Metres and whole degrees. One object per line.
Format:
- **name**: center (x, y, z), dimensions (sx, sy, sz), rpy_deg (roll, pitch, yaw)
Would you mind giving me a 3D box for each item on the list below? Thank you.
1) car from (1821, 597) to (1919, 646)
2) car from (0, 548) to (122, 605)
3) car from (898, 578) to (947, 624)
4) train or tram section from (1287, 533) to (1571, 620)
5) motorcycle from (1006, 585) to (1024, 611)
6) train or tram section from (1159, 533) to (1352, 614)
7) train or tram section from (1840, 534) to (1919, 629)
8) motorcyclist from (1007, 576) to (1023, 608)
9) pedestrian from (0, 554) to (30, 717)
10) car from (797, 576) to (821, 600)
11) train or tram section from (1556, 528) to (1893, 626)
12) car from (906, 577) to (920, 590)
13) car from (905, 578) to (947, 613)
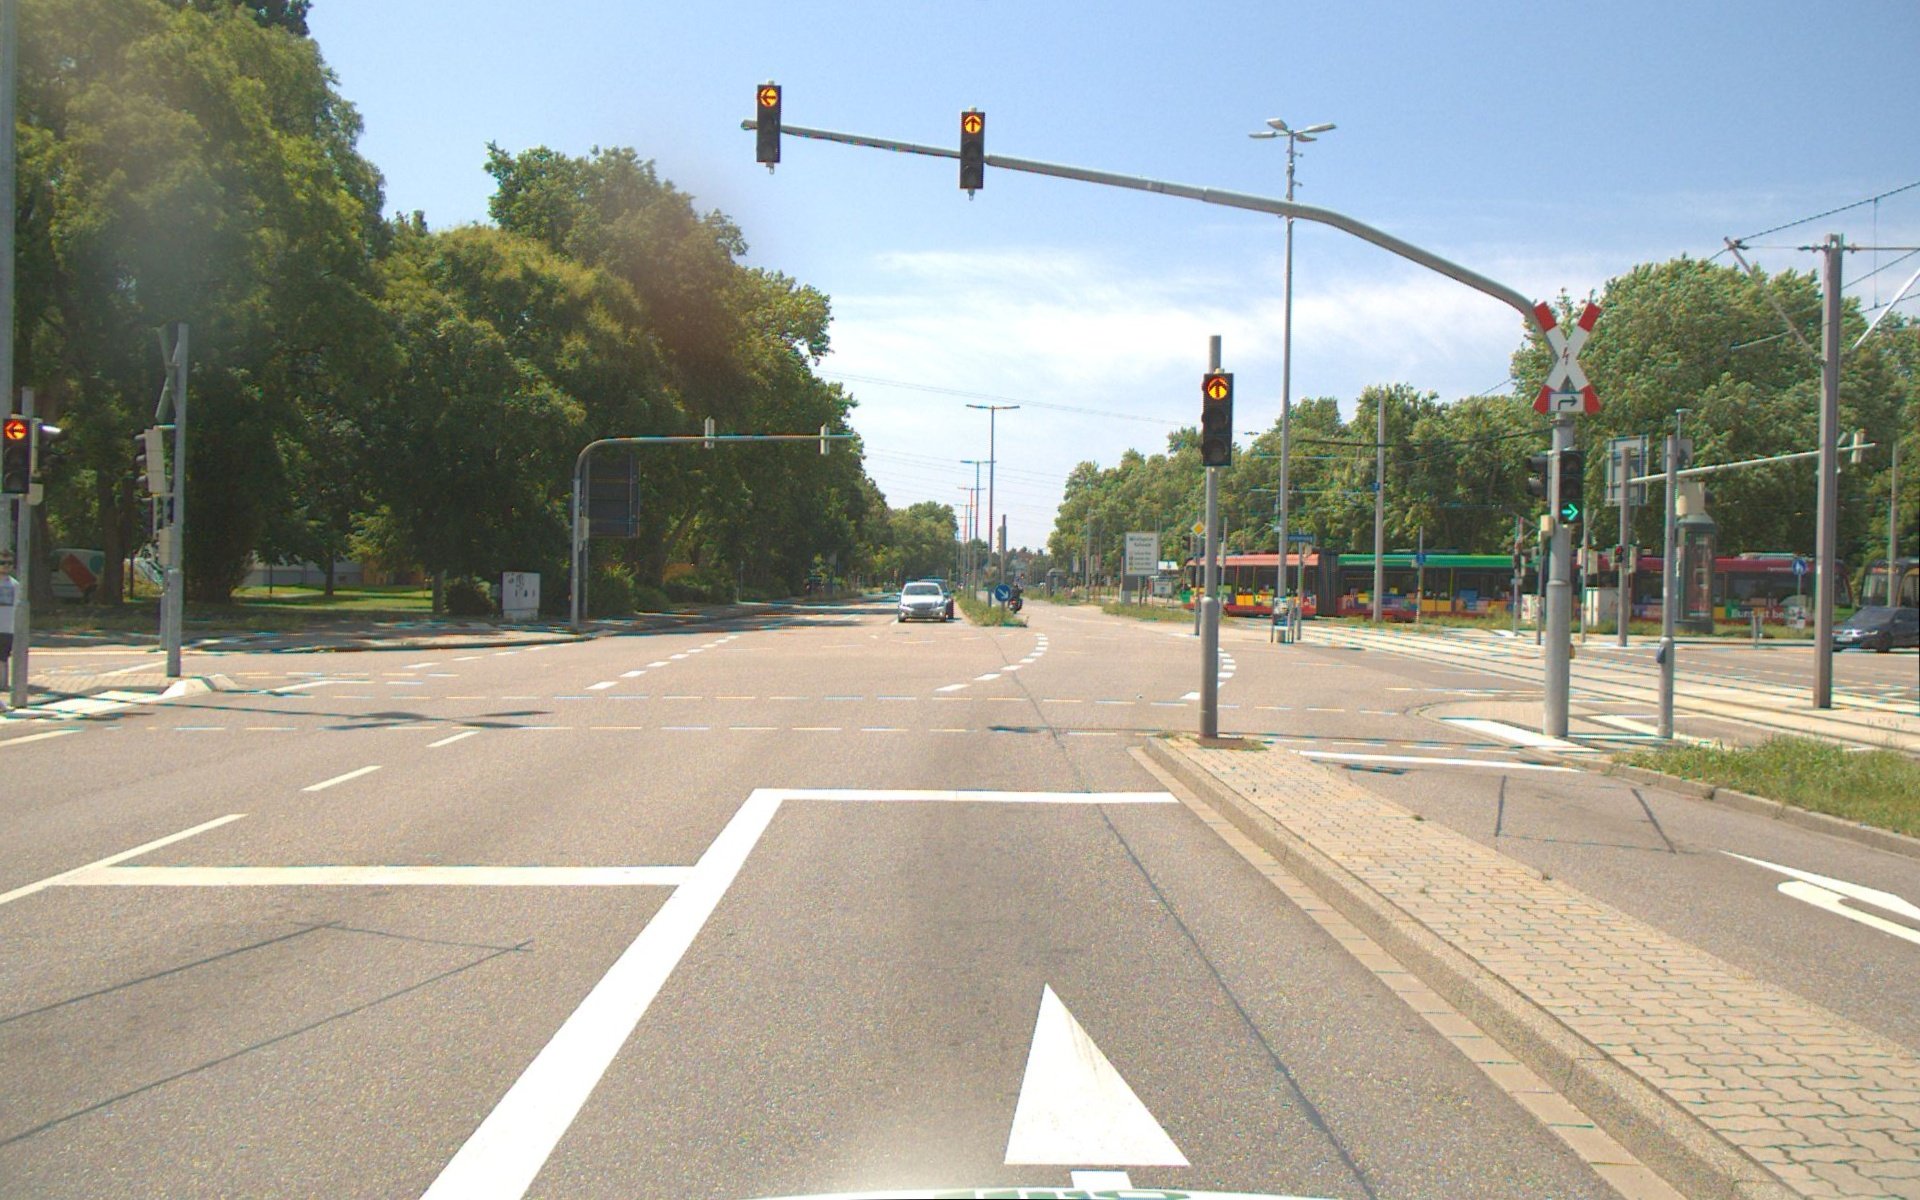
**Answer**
- **car**: center (29.295, 0.673, 52.864), dimensions (3.463, 1.488, 1.622), rpy_deg (0, 1, -32)
- **car**: center (-30.490, -0.770, 54.831), dimensions (1.758, 1.799, 4.525), rpy_deg (1, 1, 39)
- **car**: center (-1.398, 0.004, 62.648), dimensions (1.748, 1.657, 3.865), rpy_deg (1, 1, 0)
- **train or tram section**: center (22.744, -1.126, 81.021), dimensions (13.187, 3.878, 2.912), rpy_deg (0, -3, 36)
- **motorcycle**: center (2.886, -0.113, 87.093), dimensions (0.829, 1.277, 2.449), rpy_deg (2, 1, 1)
- **train or tram section**: center (15.722, -1.278, 89.520), dimensions (2.881, 3.878, 12.953), rpy_deg (3, -2, -28)
- **train or tram section**: center (47.379, -0.565, 77.720), dimensions (13.737, 3.988, 2.901), rpy_deg (3, -3, -24)
- **motorcyclist**: center (2.895, -0.428, 87.157), dimensions (0.774, 1.671, 1.211), rpy_deg (2, 0, 1)
- **pedestrian**: center (-10.267, 0.365, 17.674), dimensions (0.374, 1.716, 0.485), rpy_deg (1, 1, -4)
- **car**: center (-13.984, -1.090, 153.163), dimensions (1.954, 2.048, 3.997), rpy_deg (4, 0, -3)
- **train or tram section**: center (34.857, -1.039, 75.959), dimensions (13.698, 3.988, 2.926), rpy_deg (2, -2, 11)
- **car**: center (-6.051, -2.126, 211.707), dimensions (1.637, 1.516, 3.711), rpy_deg (1, 1, 0)
- **car**: center (-1.401, -0.216, 69.939), dimensions (1.675, 1.389, 3.865), rpy_deg (1, 1, 0)
